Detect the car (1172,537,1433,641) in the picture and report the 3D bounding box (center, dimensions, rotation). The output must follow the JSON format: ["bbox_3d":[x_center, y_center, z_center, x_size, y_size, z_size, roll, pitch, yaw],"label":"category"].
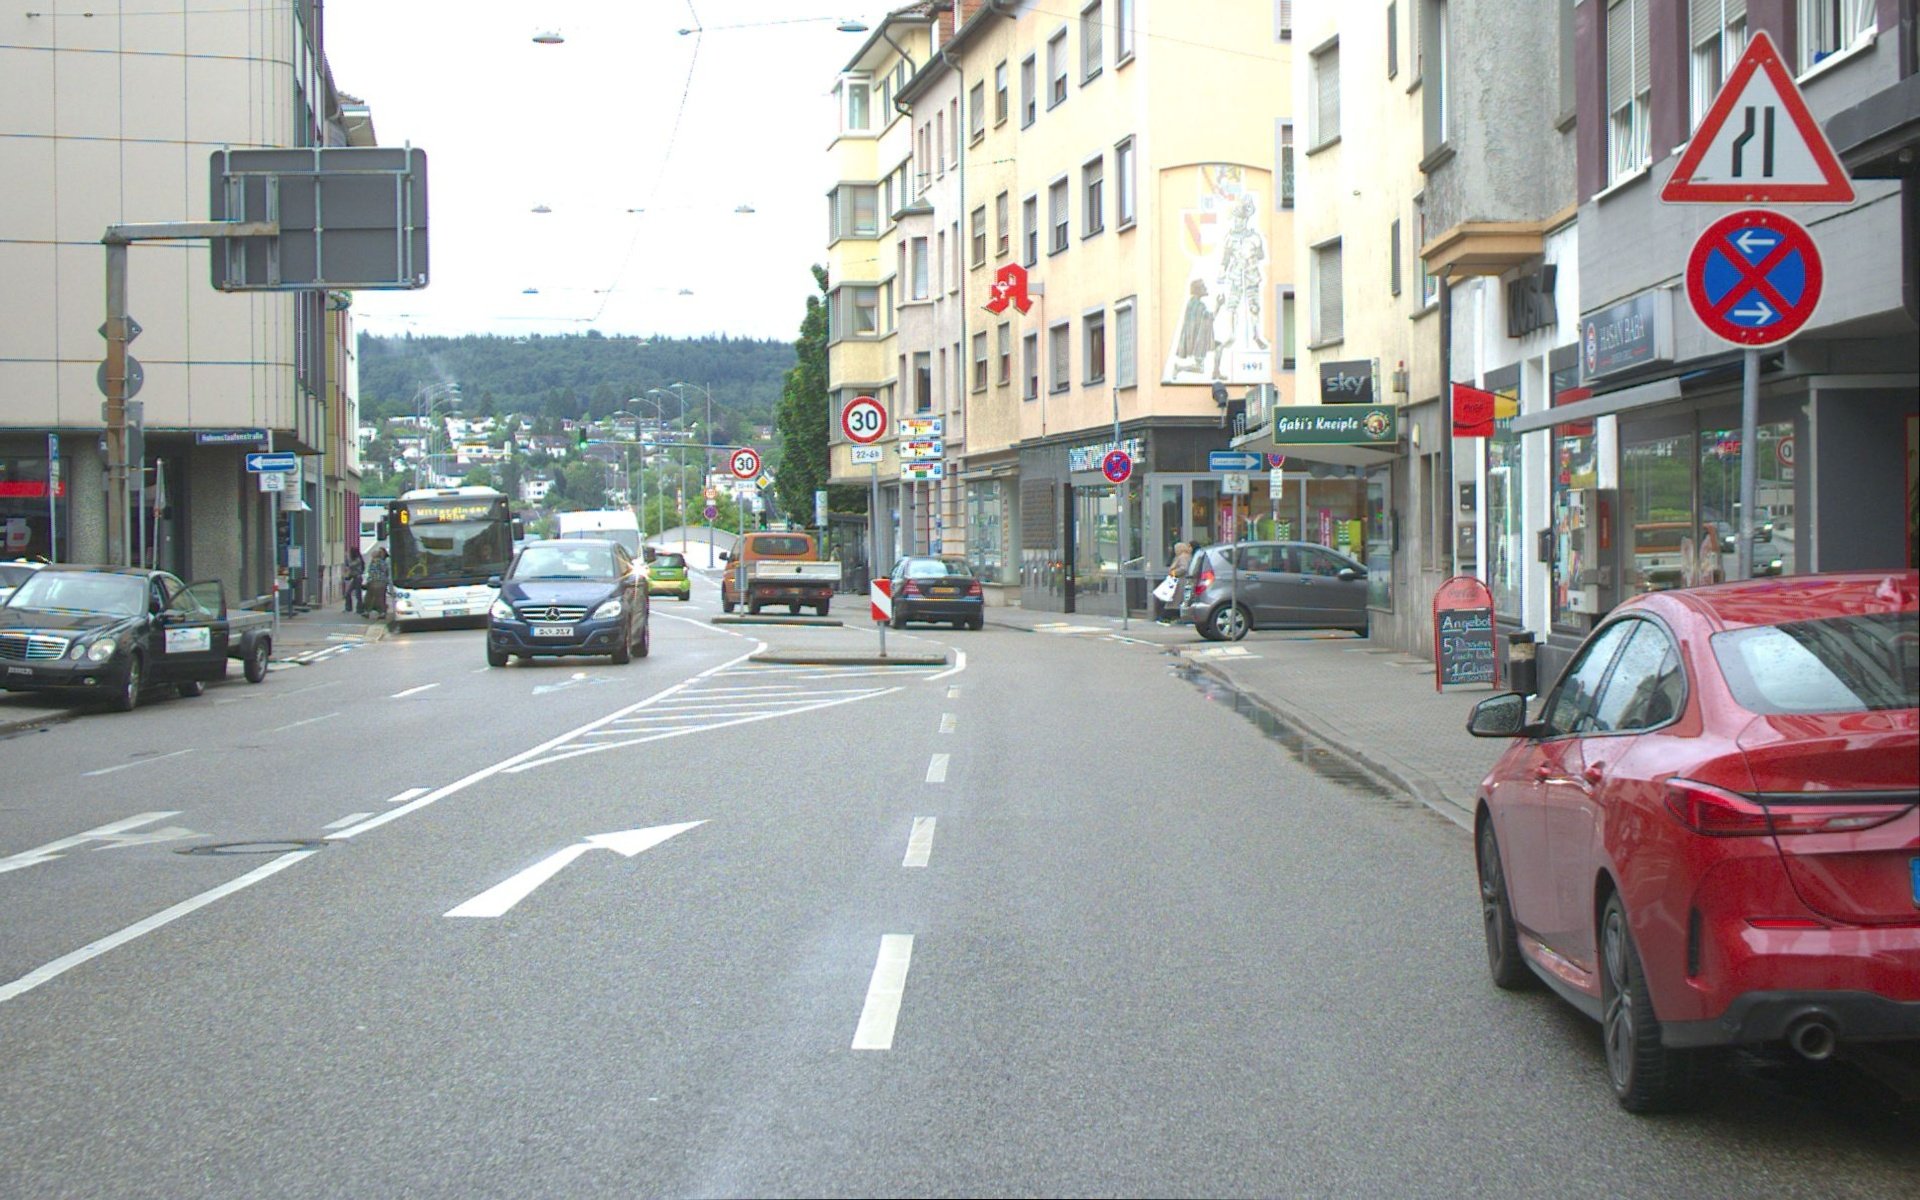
[{"bbox_3d":[5.450,-0.185,55.028,3.824,1.568,1.937,-1,0,-5],"label":"car"}]

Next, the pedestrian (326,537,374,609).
[{"bbox_3d":[-14.523,-0.646,81.878,0.999,1.678,1.266,-1,0,-6],"label":"pedestrian"}]

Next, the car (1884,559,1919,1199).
[{"bbox_3d":[2.671,0.665,5.085,1.647,1.489,4.447,-1,0,4],"label":"car"}]

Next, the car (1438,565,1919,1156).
[{"bbox_3d":[2.639,0.616,10.545,1.744,1.364,4.315,-1,1,0],"label":"car"}]

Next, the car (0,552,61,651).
[{"bbox_3d":[-16.550,0.054,53.461,4.628,1.527,1.906,-1,0,-28],"label":"car"}]

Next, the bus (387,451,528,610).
[{"bbox_3d":[-10.775,-1.435,73.811,2.758,3.177,8.914,-1,0,-8],"label":"bus"}]

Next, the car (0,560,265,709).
[{"bbox_3d":[-8.870,0.318,36.759,1.850,1.393,4.793,2,1,0],"label":"car"}]

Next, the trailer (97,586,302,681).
[{"bbox_3d":[-8.968,0.373,40.727,1.588,0.946,3.056,4,1,2],"label":"trailer"}]

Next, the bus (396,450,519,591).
[{"bbox_3d":[-12.091,-1.837,82.865,2.725,3.177,9.295,-1,0,-8],"label":"bus"}]

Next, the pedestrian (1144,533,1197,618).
[{"bbox_3d":[3.860,-0.450,63.105,0.778,1.554,0.783,-1,0,-10],"label":"pedestrian"}]

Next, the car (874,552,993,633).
[{"bbox_3d":[-0.539,-0.143,65.593,1.754,1.474,4.001,-1,0,-8],"label":"car"}]

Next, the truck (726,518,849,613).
[{"bbox_3d":[-4.119,-0.806,81.341,2.399,2.122,5.316,-1,0,-8],"label":"truck"}]

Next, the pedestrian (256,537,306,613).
[{"bbox_3d":[-14.462,-0.531,73.237,0.945,1.584,0.835,-1,0,-6],"label":"pedestrian"}]

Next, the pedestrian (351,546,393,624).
[{"bbox_3d":[-12.985,-0.335,75.926,0.876,1.686,0.889,-1,0,-10],"label":"pedestrian"}]

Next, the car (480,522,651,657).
[{"bbox_3d":[-5.115,-0.148,44.995,1.754,1.646,4.307,-1,0,0],"label":"car"}]

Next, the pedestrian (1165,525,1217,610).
[{"bbox_3d":[4.299,-0.609,63.964,0.768,1.554,0.876,-1,0,-10],"label":"pedestrian"}]

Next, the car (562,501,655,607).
[{"bbox_3d":[-8.446,-1.077,82.285,2.086,2.427,6.354,-1,0,-7],"label":"car"}]

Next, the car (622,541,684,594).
[{"bbox_3d":[-9.819,-1.031,109.631,1.754,1.646,4.001,-1,0,-8],"label":"car"}]
